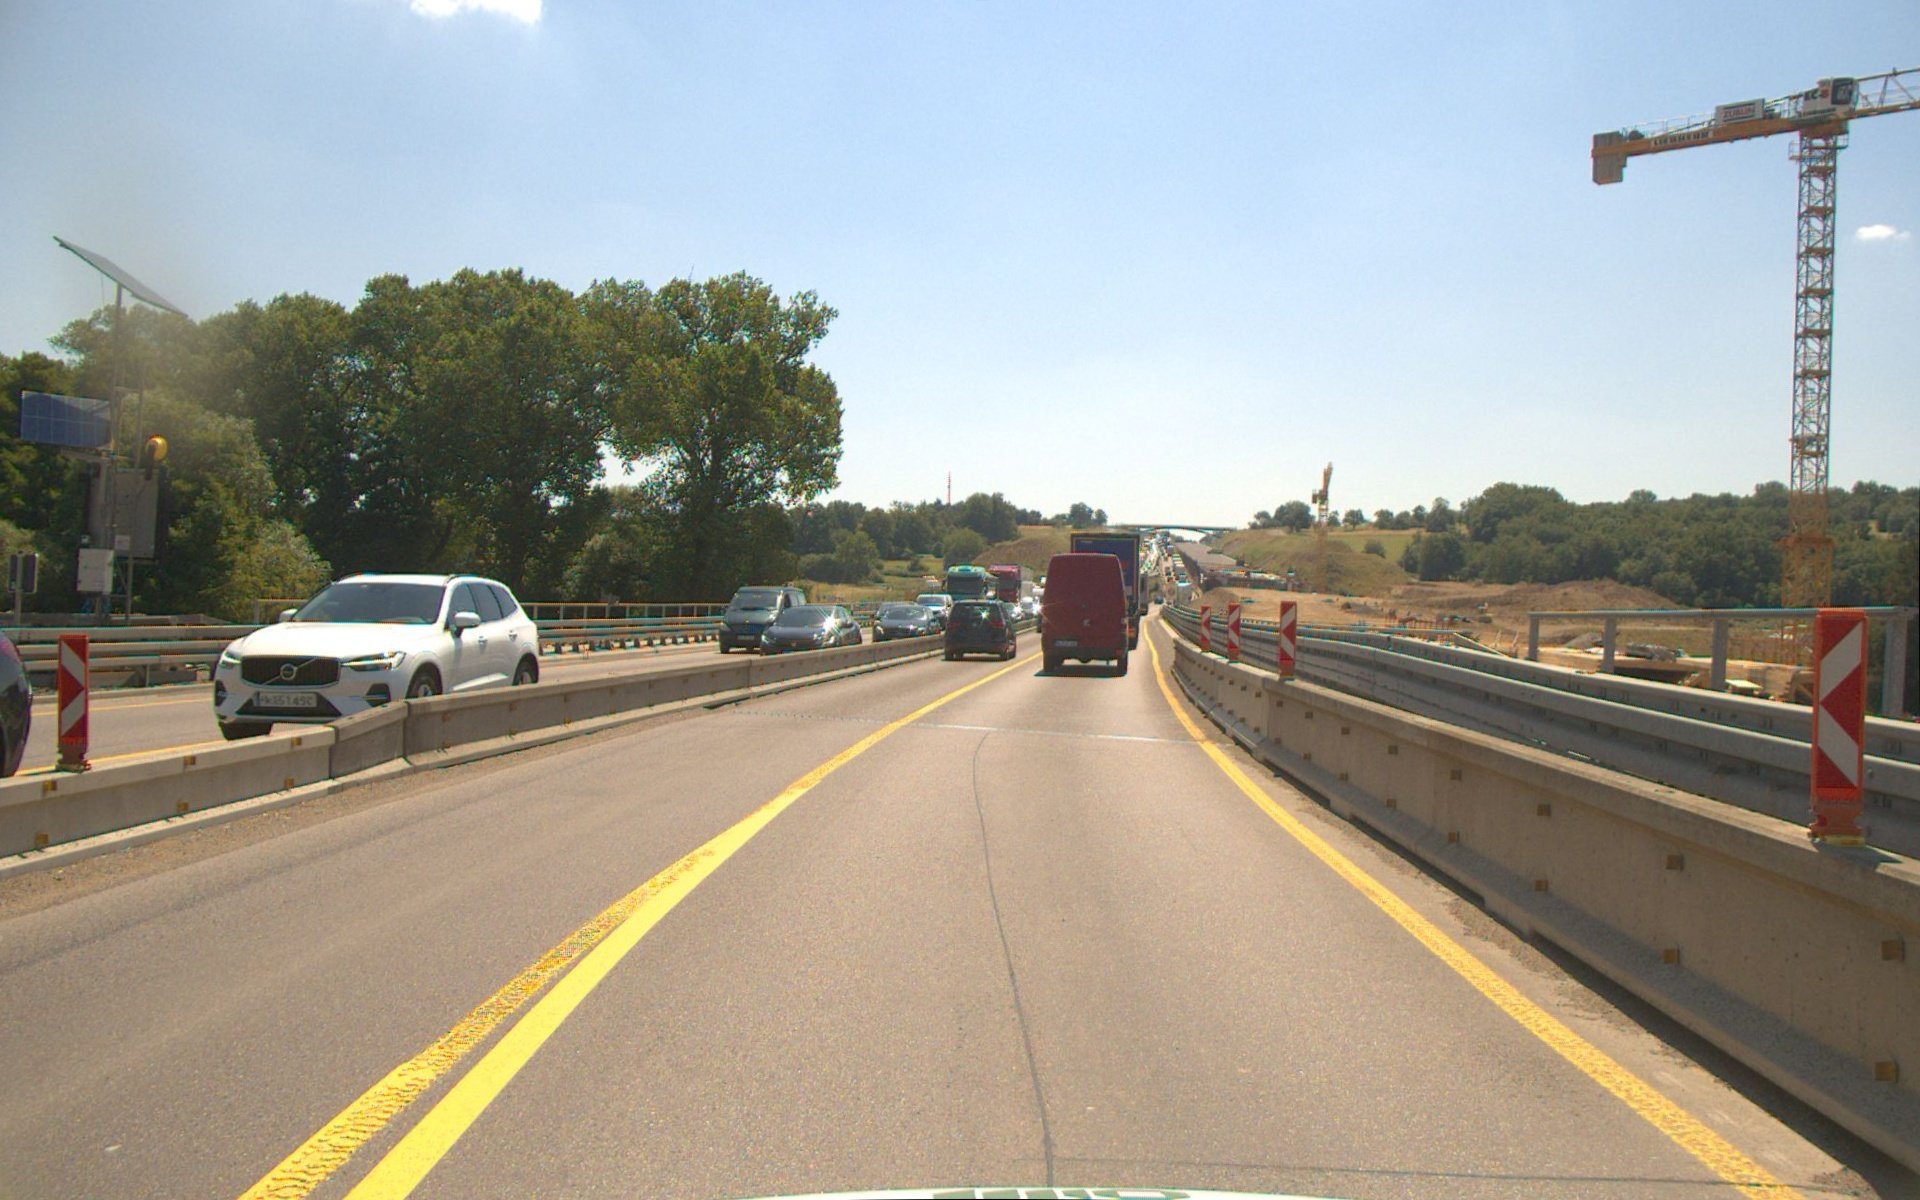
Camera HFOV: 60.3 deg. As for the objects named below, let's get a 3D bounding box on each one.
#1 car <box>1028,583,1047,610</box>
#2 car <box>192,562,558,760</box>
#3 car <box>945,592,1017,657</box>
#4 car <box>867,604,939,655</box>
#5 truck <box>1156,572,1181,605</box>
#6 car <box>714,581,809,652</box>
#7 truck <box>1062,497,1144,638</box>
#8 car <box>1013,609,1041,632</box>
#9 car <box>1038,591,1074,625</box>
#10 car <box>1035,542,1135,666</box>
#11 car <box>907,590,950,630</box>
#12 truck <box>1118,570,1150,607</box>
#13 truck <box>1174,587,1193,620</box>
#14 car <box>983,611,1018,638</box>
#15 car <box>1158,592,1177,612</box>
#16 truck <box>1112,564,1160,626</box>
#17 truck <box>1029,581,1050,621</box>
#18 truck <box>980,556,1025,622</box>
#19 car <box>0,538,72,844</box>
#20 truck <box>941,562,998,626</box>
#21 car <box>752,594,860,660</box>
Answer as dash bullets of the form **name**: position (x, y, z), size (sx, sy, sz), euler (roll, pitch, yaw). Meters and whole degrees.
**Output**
- **car**: position (7.670, -0.353, 163.531), size (1.583, 2.648, 3.892), euler (2, 0, 6)
- **car**: position (-5.741, 0.481, 16.911), size (1.782, 1.675, 4.574), euler (2, 2, 5)
- **car**: position (0.646, 0.644, 46.542), size (1.697, 1.664, 4.392), euler (1, 1, 5)
- **car**: position (-1.785, 0.905, 53.332), size (1.720, 1.522, 4.443), euler (2, 0, 5)
- **truck**: position (21.476, -1.167, 170.512), size (2.243, 3.252, 6.486), euler (1, 0, 5)
- **car**: position (-5.886, 0.474, 49.729), size (1.782, 1.977, 5.067), euler (2, 0, 5)
- **truck**: position (5.410, -1.172, 63.070), size (2.883, 5.032, 6.745), euler (1, 0, 4)
- **car**: position (4.628, 1.404, 113.882), size (1.674, 1.522, 3.603), euler (2, 0, 5)
- **car**: position (5.166, 0.431, 88.487), size (1.782, 1.726, 4.136), euler (2, 0, 5)
- **car**: position (2.926, 0.180, 39.023), size (2.105, 2.657, 5.440), euler (2, -2, 4)
- **car**: position (-1.669, 0.535, 89.276), size (1.952, 2.049, 4.002), euler (1, 0, 3)
- **truck**: position (17.807, -1.143, 169.562), size (3.116, 3.030, 8.903), euler (1, -4, 6)
- **truck**: position (29.236, 0.487, 216.230), size (2.243, 3.805, 6.485), euler (1, -4, 6)
- **car**: position (2.450, 1.453, 98.623), size (1.782, 1.522, 4.136), euler (2, 0, 5)
- **car**: position (18.915, 0.204, 150.892), size (1.583, 1.729, 3.892), euler (2, 0, 6)
- **truck**: position (12.143, -0.315, 113.817), size (3.114, 4.059, 6.746), euler (1, 0, 6)
- **truck**: position (8.952, 0.115, 186.249), size (1.951, 4.076, 6.485), euler (1, -4, 6)
- **truck**: position (3.505, -0.834, 133.768), size (2.749, 5.026, 12.141), euler (2, 0, 5)
- **car**: position (-6.238, 0.501, 7.351), size (1.842, 1.676, 4.717), euler (1, 1, 3)
- **truck**: position (0.754, -0.349, 112.321), size (2.749, 4.033, 12.141), euler (2, 0, 5)
- **car**: position (-3.453, 0.587, 37.836), size (1.633, 1.389, 4.443), euler (2, 0, 5)
